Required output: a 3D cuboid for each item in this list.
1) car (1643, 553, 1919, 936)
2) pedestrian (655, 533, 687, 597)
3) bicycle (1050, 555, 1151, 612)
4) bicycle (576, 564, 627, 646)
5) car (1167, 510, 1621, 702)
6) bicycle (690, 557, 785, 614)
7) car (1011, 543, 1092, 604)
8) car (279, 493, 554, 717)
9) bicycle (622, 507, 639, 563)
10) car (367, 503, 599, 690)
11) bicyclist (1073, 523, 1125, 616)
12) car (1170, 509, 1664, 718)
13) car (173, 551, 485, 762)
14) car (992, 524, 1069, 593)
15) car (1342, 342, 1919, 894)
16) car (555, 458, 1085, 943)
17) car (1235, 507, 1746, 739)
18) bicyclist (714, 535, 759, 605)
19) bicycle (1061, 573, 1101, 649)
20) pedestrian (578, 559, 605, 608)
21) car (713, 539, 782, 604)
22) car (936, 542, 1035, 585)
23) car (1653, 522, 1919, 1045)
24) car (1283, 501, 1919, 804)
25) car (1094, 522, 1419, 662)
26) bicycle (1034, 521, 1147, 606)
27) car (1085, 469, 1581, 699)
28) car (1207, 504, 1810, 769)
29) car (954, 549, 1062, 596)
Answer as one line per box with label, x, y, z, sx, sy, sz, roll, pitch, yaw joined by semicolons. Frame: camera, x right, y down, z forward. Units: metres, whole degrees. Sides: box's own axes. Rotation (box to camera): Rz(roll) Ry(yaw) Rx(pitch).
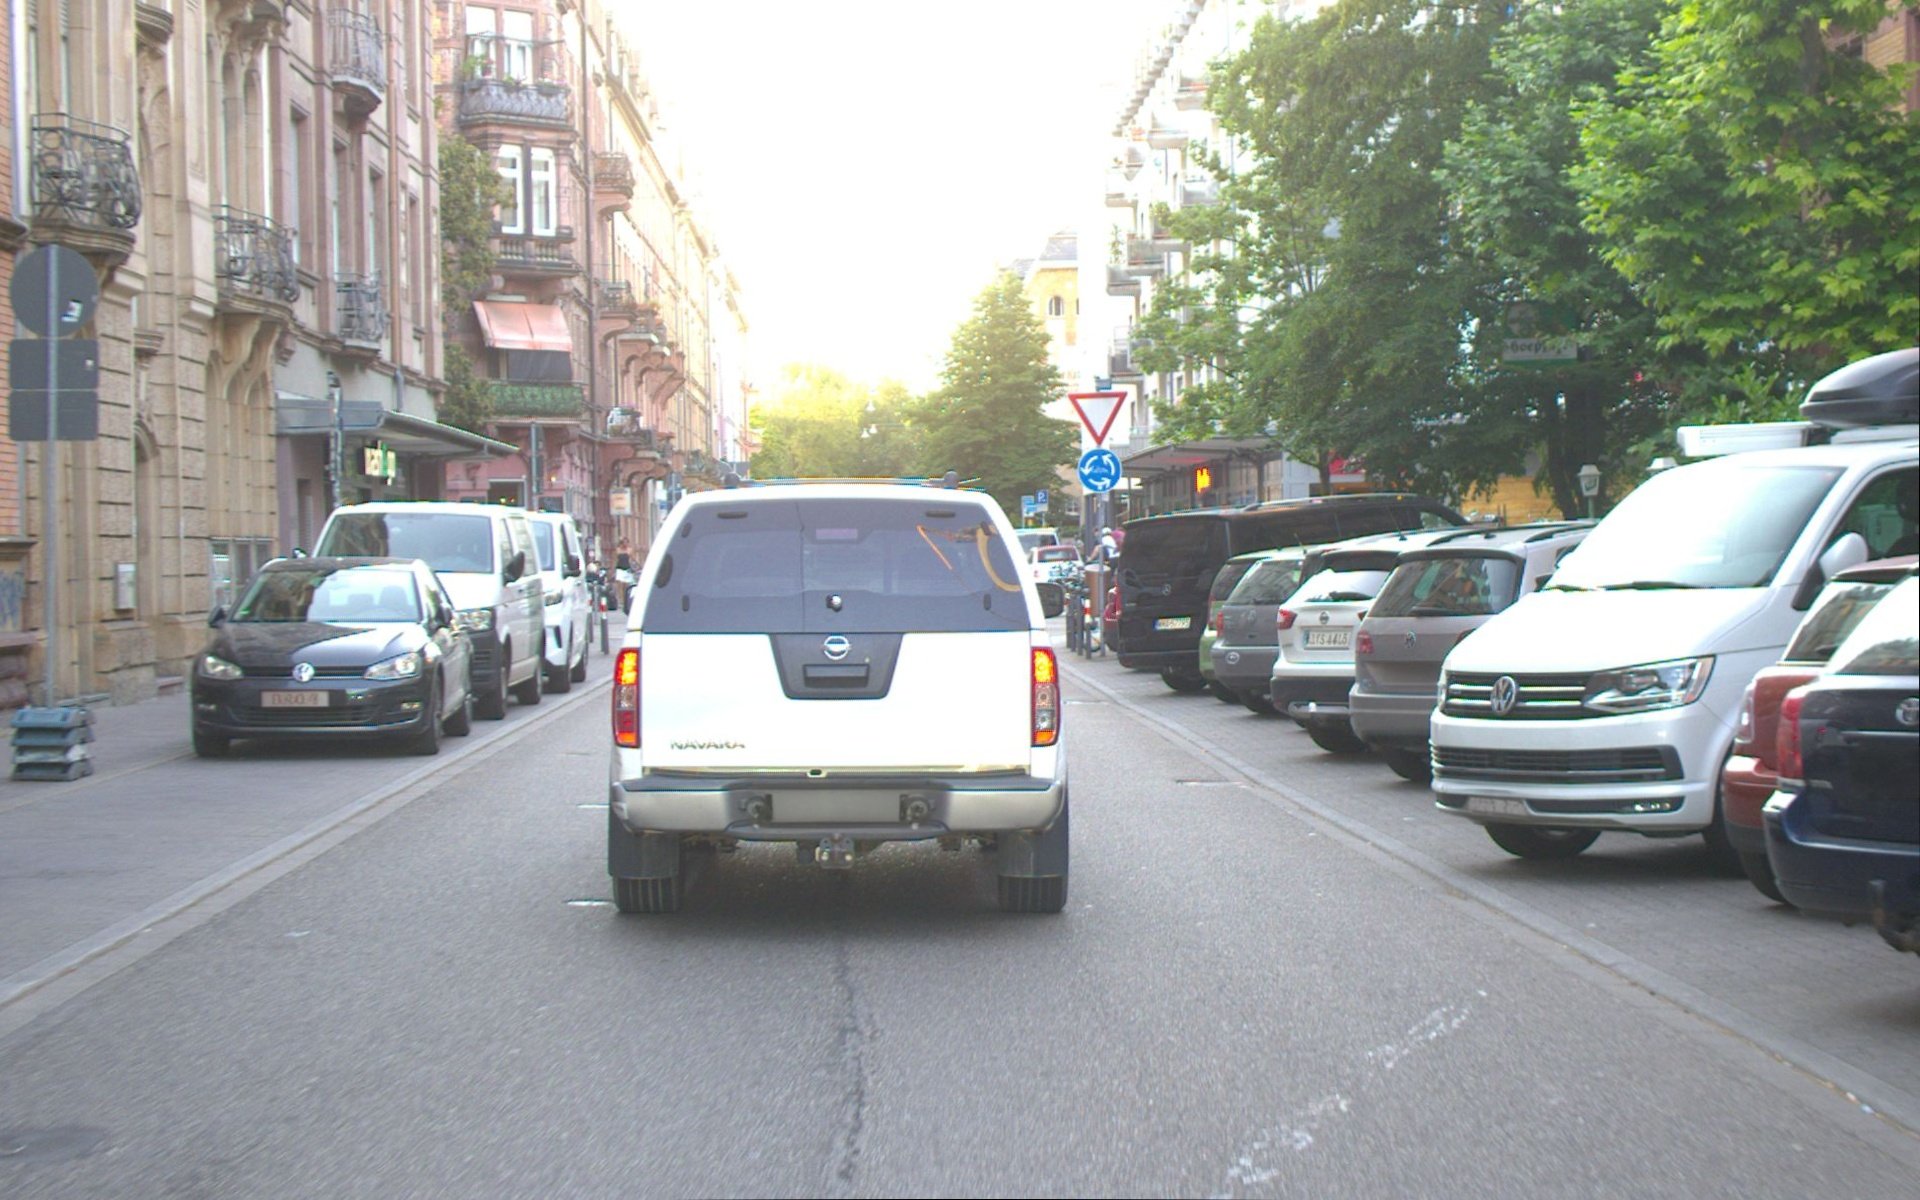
car;4.844;0.477;14.115;3.855;1.403;1.759;-2;0;-34
pedestrian;-7.399;-0.895;88.036;0.797;1.615;0.945;0;0;-4
bicycle;2.952;-0.350;72.204;1.932;1.167;0.839;1;0;27
bicycle;-5.037;0.065;48.391;0.471;1.138;1.784;0;0;2
car;4.237;0.033;33.393;4.096;1.546;1.818;-5;2;-33
bicycle;-4.665;-0.309;71.986;1.929;1.167;0.596;0;0;-9
car;2.375;-0.681;89.673;1.834;1.536;4.000;0;0;-2
car;-4.961;0.009;32.026;1.837;1.915;4.846;-1;1;-1
bicycle;-8.513;-1.674;88.810;0.424;1.437;1.905;0;0;-6
car;-5.212;-0.069;38.155;2.109;1.915;5.026;-1;1;-3
bicyclist;2.922;-0.641;72.212;0.783;1.937;0.839;0;0;27
car;4.108;0.088;30.710;4.096;1.546;1.818;-5;2;-33
car;-4.717;0.368;26.221;1.836;1.466;4.173;-1;1;-3
car;1.993;-1.183;98.445;1.942;1.927;4.000;0;0;-2
car;4.495;-0.012;16.657;4.922;2.354;2.000;-2;1;-27
car;-0.438;0.361;15.395;1.938;1.804;5.000;0;0;3
car;4.418;0.153;28.332;4.097;1.585;1.818;-5;2;-39
bicyclist;-4.688;-0.626;71.983;0.870;1.461;0.576;0;0;-11
bicycle;1.705;0.150;48.682;0.364;1.060;1.552;0;0;-5
pedestrian;-8.960;-0.391;83.604;0.648;1.187;0.540;0;0;-5
car;-5.893;-0.791;95.786;1.834;1.744;4.000;0;0;-2
car;1.045;-1.502;141.558;3.986;1.744;1.841;0;0;-2
car;4.377;0.473;11.104;3.854;1.511;1.848;-2;1;-27
car;4.354;0.273;22.199;4.153;1.585;1.886;-4;3;-32
car;3.931;-0.138;45.333;4.036;1.622;1.693;-4;3;-33
bicycle;3.118;-0.875;82.207;2.647;2.007;0.638;0;0;0
car;4.056;-0.210;36.725;5.422;2.065;1.933;-5;2;-39
car;4.037;0.222;25.113;4.096;1.585;1.818;-4;2;-32
car;1.794;-1.024;129.479;3.986;1.744;1.841;0;0;-2
